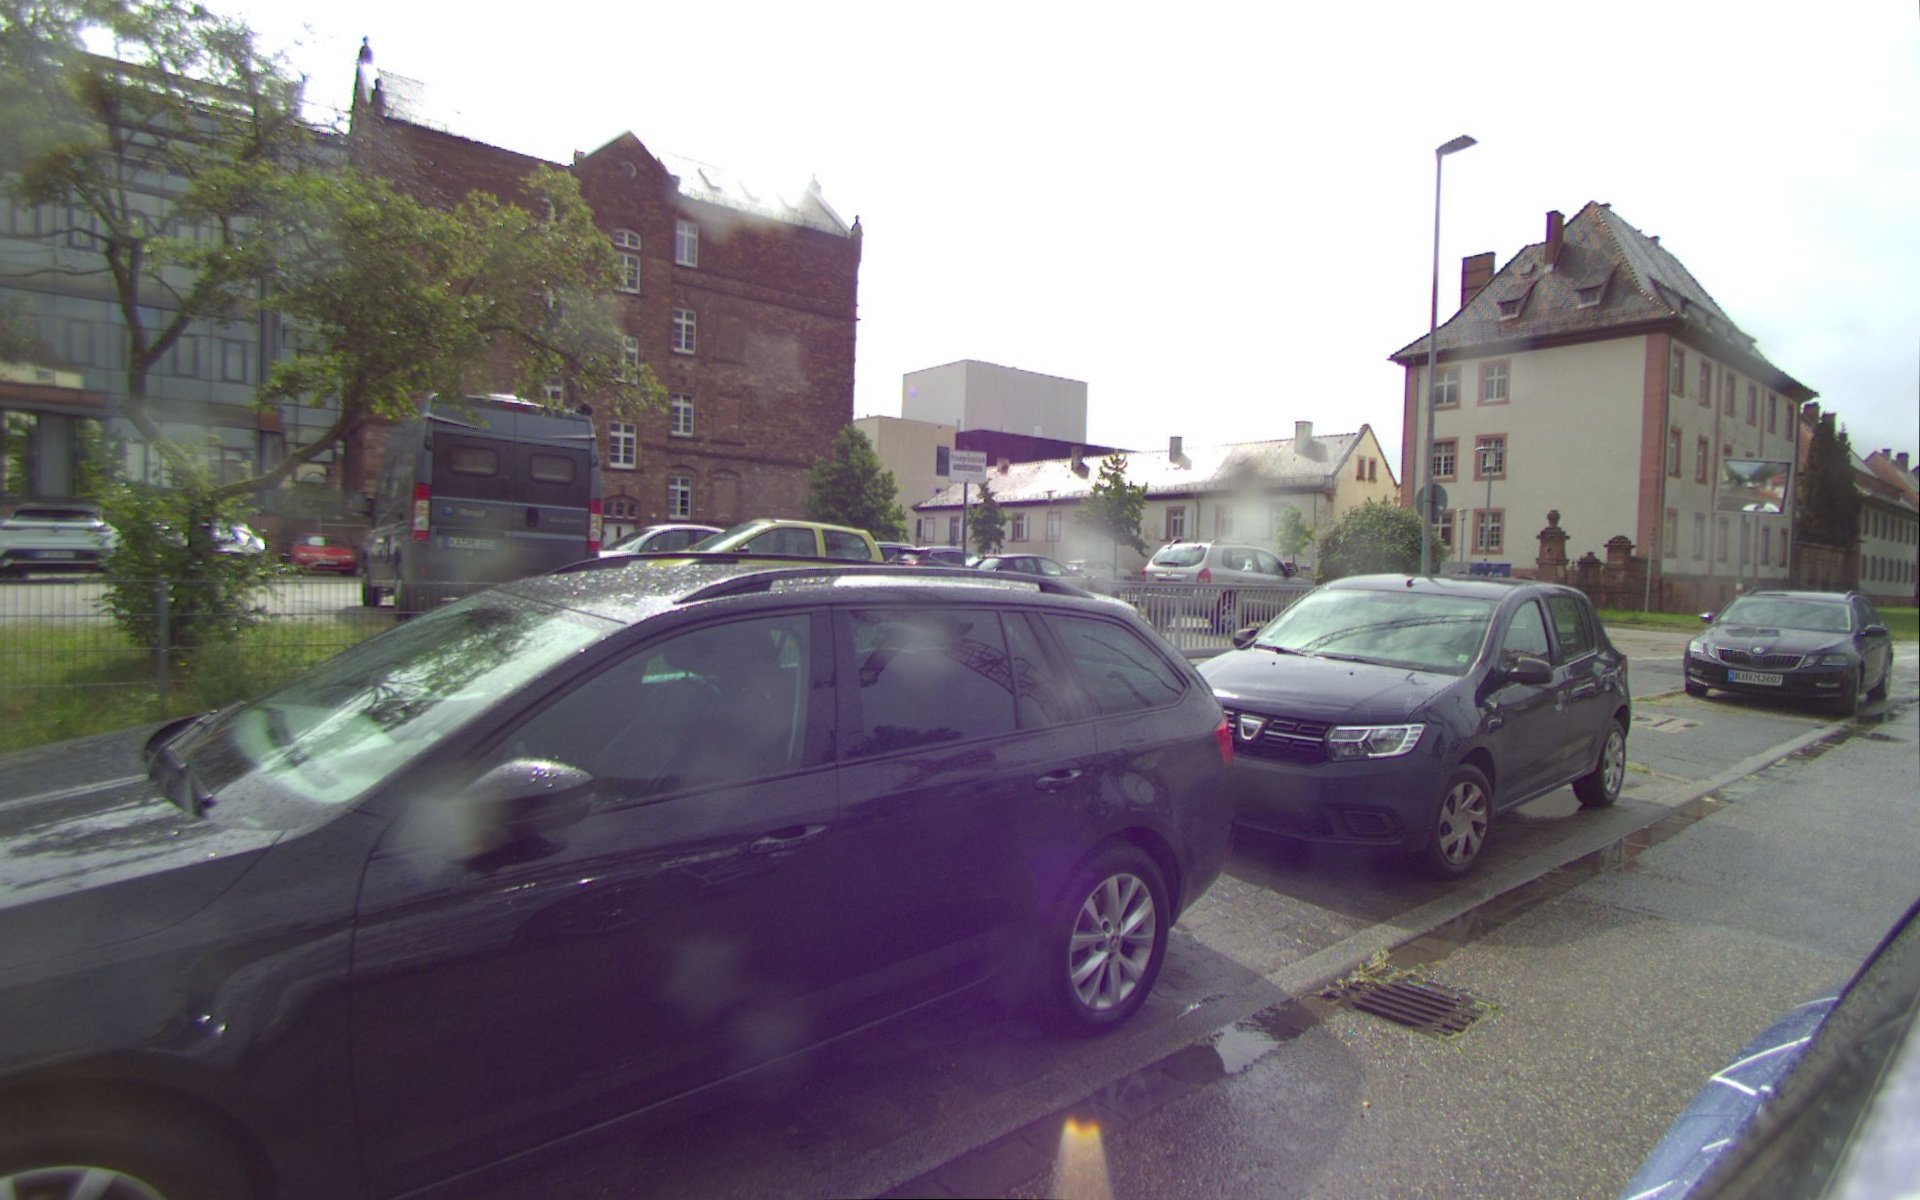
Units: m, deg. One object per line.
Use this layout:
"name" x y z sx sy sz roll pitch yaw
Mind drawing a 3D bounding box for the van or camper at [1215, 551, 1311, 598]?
"van or camper" 14.785 -1.198 49.276 5.089 2.143 1.794 0 1 -37

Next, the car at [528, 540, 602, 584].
"car" -14.482 -1.378 36.989 1.641 1.505 3.678 0 1 -36

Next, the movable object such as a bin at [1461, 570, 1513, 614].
"movable object such as a bin" 18.937 -0.294 36.358 1.365 1.475 1.110 1 3 -37

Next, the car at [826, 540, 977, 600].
"car" -1.778 -0.918 31.309 4.340 1.699 1.859 0 3 -37

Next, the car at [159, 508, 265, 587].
"car" -15.699 -1.119 21.299 1.641 1.483 3.988 0 3 -36

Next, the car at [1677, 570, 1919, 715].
"car" 11.480 0.471 13.709 4.300 1.558 1.779 0 5 -40

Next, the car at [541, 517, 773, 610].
"car" -5.414 -0.638 18.232 3.648 1.504 1.655 0 3 -36

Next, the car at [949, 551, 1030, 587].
"car" 1.471 -1.537 50.447 3.735 1.712 1.759 -1 1 -36

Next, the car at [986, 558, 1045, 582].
"car" 3.583 -1.926 65.303 3.508 1.394 1.709 0 3 -37

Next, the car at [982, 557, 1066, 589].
"car" 3.075 -1.278 48.249 3.735 1.471 1.759 -1 1 -36

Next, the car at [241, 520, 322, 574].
"car" -20.872 -1.578 31.083 1.656 1.538 3.503 -1 1 -40

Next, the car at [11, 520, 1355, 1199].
"car" -0.444 0.587 3.528 4.087 1.526 1.608 -1 5 -41

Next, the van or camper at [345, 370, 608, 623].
"van or camper" -6.401 -1.173 13.037 2.134 2.585 5.014 -1 3 -37

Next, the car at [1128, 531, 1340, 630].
"car" 5.460 -0.394 19.977 4.159 1.771 1.810 0 3 -37

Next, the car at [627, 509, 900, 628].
"car" -2.693 -0.426 14.088 3.352 1.466 1.616 0 3 -36

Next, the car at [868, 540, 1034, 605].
"car" -0.229 -0.772 28.753 4.336 1.699 1.861 0 3 -33

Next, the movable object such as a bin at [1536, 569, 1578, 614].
"movable object such as a bin" 20.375 -0.299 34.523 1.076 1.475 0.802 1 3 -37

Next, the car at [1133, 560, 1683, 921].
"car" 3.033 0.577 6.444 3.933 1.546 1.759 -1 3 -43

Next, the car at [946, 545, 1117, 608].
"car" 1.954 -0.615 27.085 4.337 1.545 1.836 0 3 -34
